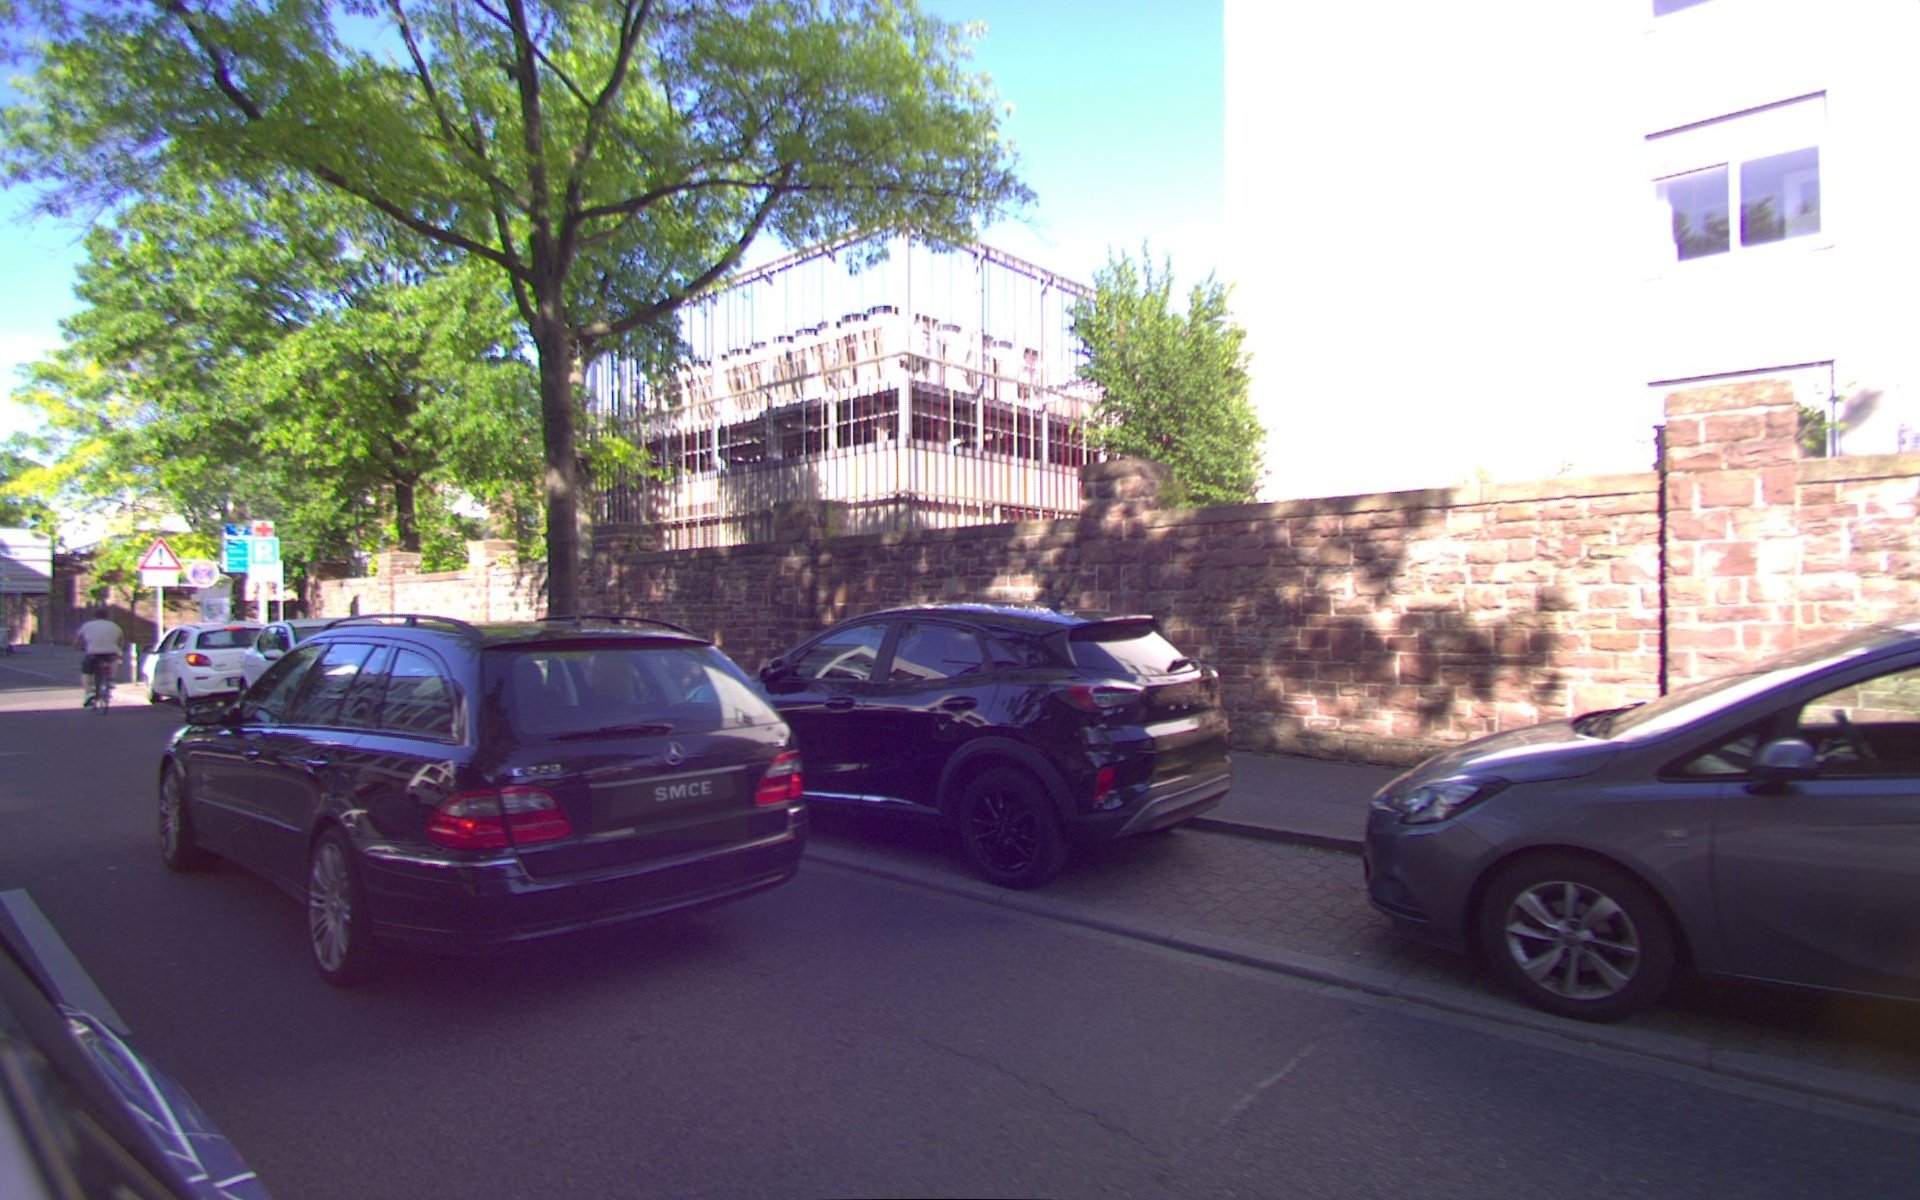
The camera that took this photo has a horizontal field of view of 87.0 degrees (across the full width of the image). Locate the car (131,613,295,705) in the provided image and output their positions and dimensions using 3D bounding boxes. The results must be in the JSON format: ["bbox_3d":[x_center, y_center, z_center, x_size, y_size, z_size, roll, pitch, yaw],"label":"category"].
[{"bbox_3d":[-13.740,1.026,18.543,3.748,1.412,1.558,-2,2,41],"label":"car"}]

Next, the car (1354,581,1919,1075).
[{"bbox_3d":[3.575,0.658,3.459,3.832,1.432,1.671,-2,1,37],"label":"car"}]

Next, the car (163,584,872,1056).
[{"bbox_3d":[-2.457,0.743,5.126,3.967,1.447,1.802,-2,-3,42],"label":"car"}]

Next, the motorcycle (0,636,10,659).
[{"bbox_3d":[-43.615,2.153,45.343,0.591,1.040,2.133,-1,-1,-15],"label":"motorcycle"}]

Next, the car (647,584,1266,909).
[{"bbox_3d":[-0.245,0.722,6.674,4.042,1.526,1.557,-2,-1,41],"label":"car"}]

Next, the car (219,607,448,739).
[{"bbox_3d":[-8.891,0.936,14.246,3.848,1.522,1.659,-2,2,42],"label":"car"}]

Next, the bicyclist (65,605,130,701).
[{"bbox_3d":[-14.506,0.867,17.018,1.005,1.534,0.713,-1,0,44],"label":"bicyclist"}]

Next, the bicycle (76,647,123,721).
[{"bbox_3d":[-14.438,1.382,16.961,1.866,1.129,0.353,-1,0,43],"label":"bicycle"}]
